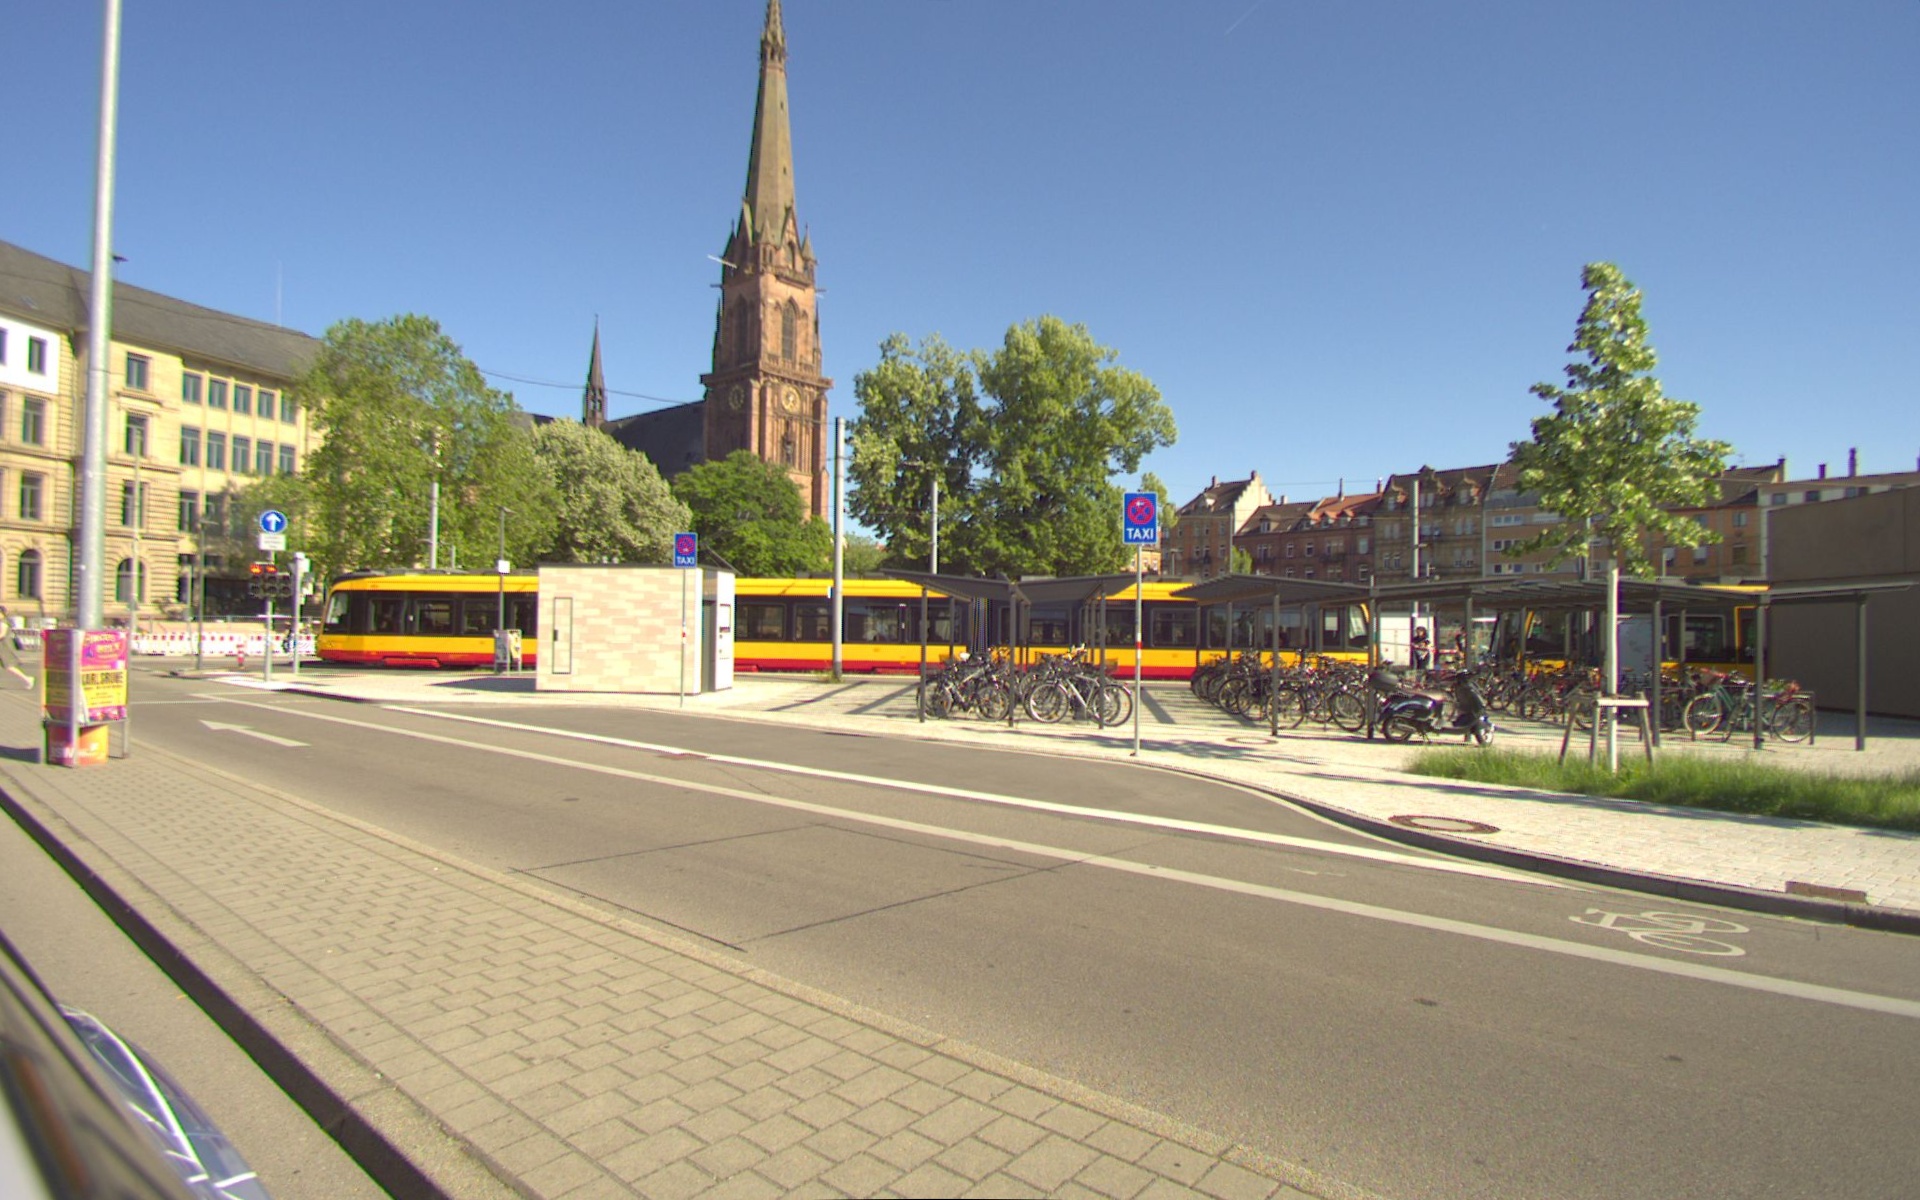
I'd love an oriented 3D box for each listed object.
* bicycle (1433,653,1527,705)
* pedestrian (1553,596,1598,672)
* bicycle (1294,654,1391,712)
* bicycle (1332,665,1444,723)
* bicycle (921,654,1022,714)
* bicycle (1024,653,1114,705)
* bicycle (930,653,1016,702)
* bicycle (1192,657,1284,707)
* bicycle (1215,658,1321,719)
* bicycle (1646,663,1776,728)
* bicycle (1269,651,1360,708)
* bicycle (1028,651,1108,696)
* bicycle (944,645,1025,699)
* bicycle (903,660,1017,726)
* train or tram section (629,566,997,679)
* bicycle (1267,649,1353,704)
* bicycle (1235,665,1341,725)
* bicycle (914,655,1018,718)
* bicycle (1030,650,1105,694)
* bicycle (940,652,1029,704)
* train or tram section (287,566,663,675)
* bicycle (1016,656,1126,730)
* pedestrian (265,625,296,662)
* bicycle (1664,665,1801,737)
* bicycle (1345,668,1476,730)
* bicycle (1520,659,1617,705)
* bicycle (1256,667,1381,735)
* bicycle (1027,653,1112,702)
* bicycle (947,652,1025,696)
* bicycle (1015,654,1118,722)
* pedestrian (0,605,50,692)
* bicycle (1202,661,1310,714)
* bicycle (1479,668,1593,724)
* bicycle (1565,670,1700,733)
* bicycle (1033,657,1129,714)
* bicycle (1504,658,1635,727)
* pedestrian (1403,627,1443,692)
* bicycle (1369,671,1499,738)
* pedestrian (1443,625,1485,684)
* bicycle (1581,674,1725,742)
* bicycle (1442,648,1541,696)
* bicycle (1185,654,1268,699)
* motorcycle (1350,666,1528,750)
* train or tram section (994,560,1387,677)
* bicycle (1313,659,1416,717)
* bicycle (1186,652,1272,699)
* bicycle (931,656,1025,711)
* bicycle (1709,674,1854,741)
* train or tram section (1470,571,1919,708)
[{"bbox_3d":[12.005,1.815,23.401,1.809,1.140,0.627,0,-2,9],"label":"bicycle"},{"bbox_3d":[15.442,0.859,25.389,0.700,1.869,0.751,2,-2,-38],"label":"pedestrian"},{"bbox_3d":[8.115,1.747,21.526,1.808,1.170,0.627,0,-2,7],"label":"bicycle"},{"bbox_3d":[8.005,1.750,18.969,1.808,1.015,0.627,0,-2,7],"label":"bicycle"},{"bbox_3d":[0.217,1.545,18.764,1.809,1.059,0.571,0,-2,9],"label":"bicycle"},{"bbox_3d":[2.233,1.611,20.847,1.808,1.015,0.627,0,-2,7],"label":"bicycle"},{"bbox_3d":[0.294,1.692,22.169,1.809,1.015,0.627,0,-2,9],"label":"bicycle"},{"bbox_3d":[5.974,1.758,21.804,1.805,1.015,0.629,0,-2,0],"label":"bicycle"},{"bbox_3d":[5.880,1.684,19.408,1.859,1.101,0.626,0,-2,8],"label":"bicycle"},{"bbox_3d":[13.594,1.718,18.358,1.808,1.101,0.627,0,-2,7],"label":"bicycle"},{"bbox_3d":[7.933,1.768,22.676,1.808,1.198,0.647,0,-2,7],"label":"bicycle"},{"bbox_3d":[2.514,1.704,23.607,1.808,1.015,0.627,0,-2,7],"label":"bicycle"},{"bbox_3d":[0.566,1.648,23.413,1.809,1.188,0.627,0,-2,9],"label":"bicycle"},{"bbox_3d":[0.010,1.585,17.372,1.847,1.015,0.699,2,-2,9],"label":"bicycle"},{"bbox_3d":[-4.885,0.741,34.687,12.174,3.628,2.796,0,-2,6],"label":"train or tram section"},{"bbox_3d":[8.240,1.786,23.874,1.808,1.242,0.627,0,-2,7],"label":"bicycle"},{"bbox_3d":[5.857,1.687,18.130,1.731,1.015,0.547,0,-2,10],"label":"bicycle"},{"bbox_3d":[0.120,1.539,18.235,1.809,1.074,0.627,0,-2,9],"label":"bicycle"},{"bbox_3d":[2.637,1.760,24.807,1.808,1.015,0.627,0,-2,7],"label":"bicycle"},{"bbox_3d":[0.517,1.617,21.138,1.809,1.015,0.627,0,-2,9],"label":"bicycle"},{"bbox_3d":[-17.085,0.698,35.965,12.382,3.628,2.796,0,-2,6],"label":"train or tram section"},{"bbox_3d":[1.869,1.557,17.131,1.808,1.167,0.627,1,-2,7],"label":"bicycle"},{"bbox_3d":[-32.972,2.094,49.123,0.920,1.754,0.807,1,-2,-8],"label":"pedestrian"},{"bbox_3d":[12.995,1.689,17.062,1.805,1.155,0.629,0,-2,0],"label":"bicycle"},{"bbox_3d":[7.923,1.732,17.874,2.003,1.015,0.627,0,-2,7],"label":"bicycle"},{"bbox_3d":[14.057,1.882,23.404,1.808,1.015,0.627,0,-2,7],"label":"bicycle"},{"bbox_3d":[5.981,1.678,16.977,1.871,1.050,0.688,0,-2,9],"label":"bicycle"},{"bbox_3d":[2.382,1.689,22.121,1.808,1.015,0.627,0,-2,7],"label":"bicycle"},{"bbox_3d":[0.624,1.752,24.113,1.809,1.015,0.627,0,-2,9],"label":"bicycle"},{"bbox_3d":[1.914,1.579,18.274,1.808,1.157,0.627,0,-2,7],"label":"bicycle"},{"bbox_3d":[-21.000,1.060,22.240,0.823,1.869,1.219,0,-2,26],"label":"pedestrian"},{"bbox_3d":[5.953,1.762,20.429,1.978,1.015,0.628,0,-2,4],"label":"bicycle"},{"bbox_3d":[11.266,1.874,19.839,1.809,1.015,0.627,0,-2,9],"label":"bicycle"},{"bbox_3d":[11.607,1.743,17.523,1.872,1.004,0.499,0,-2,13],"label":"bicycle"},{"bbox_3d":[2.325,1.637,19.539,1.808,1.015,0.745,0,-2,7],"label":"bicycle"},{"bbox_3d":[11.301,1.705,18.799,2.029,1.218,0.505,0,-2,8],"label":"bicycle"},{"bbox_3d":[12.034,1.543,26.323,0.762,1.672,0.604,0,-2,4],"label":"pedestrian"},{"bbox_3d":[7.772,1.705,16.648,1.808,1.015,0.627,0,-2,7],"label":"bicycle"},{"bbox_3d":[17.669,1.903,35.507,0.997,2.029,0.872,0,-2,0],"label":"pedestrian"},{"bbox_3d":[11.163,1.724,16.347,1.809,1.015,0.627,0,-2,9],"label":"bicycle"},{"bbox_3d":[11.691,1.578,22.305,1.809,1.015,0.627,0,-2,9],"label":"bicycle"},{"bbox_3d":[6.255,1.787,23.796,1.808,1.015,0.627,0,-2,6],"label":"bicycle"},{"bbox_3d":[7.172,1.605,15.231,2.333,1.167,0.610,0,-2,7],"label":"motorcycle"},{"bbox_3d":[7.280,0.596,33.418,12.174,3.628,2.828,0,-2,6],"label":"train or tram section"},{"bbox_3d":[8.078,1.748,20.260,1.808,1.088,0.627,0,-2,7],"label":"bicycle"},{"bbox_3d":[6.126,1.722,23.109,1.807,1.015,0.628,0,-2,5],"label":"bicycle"},{"bbox_3d":[0.365,1.637,19.983,1.809,1.015,0.627,0,-2,9],"label":"bicycle"},{"bbox_3d":[13.024,1.696,16.075,1.803,1.015,0.629,1,-2,-3],"label":"bicycle"},{"bbox_3d":[21.416,1.072,28.669,12.179,3.628,2.748,0,-2,7],"label":"train or tram section"}]
